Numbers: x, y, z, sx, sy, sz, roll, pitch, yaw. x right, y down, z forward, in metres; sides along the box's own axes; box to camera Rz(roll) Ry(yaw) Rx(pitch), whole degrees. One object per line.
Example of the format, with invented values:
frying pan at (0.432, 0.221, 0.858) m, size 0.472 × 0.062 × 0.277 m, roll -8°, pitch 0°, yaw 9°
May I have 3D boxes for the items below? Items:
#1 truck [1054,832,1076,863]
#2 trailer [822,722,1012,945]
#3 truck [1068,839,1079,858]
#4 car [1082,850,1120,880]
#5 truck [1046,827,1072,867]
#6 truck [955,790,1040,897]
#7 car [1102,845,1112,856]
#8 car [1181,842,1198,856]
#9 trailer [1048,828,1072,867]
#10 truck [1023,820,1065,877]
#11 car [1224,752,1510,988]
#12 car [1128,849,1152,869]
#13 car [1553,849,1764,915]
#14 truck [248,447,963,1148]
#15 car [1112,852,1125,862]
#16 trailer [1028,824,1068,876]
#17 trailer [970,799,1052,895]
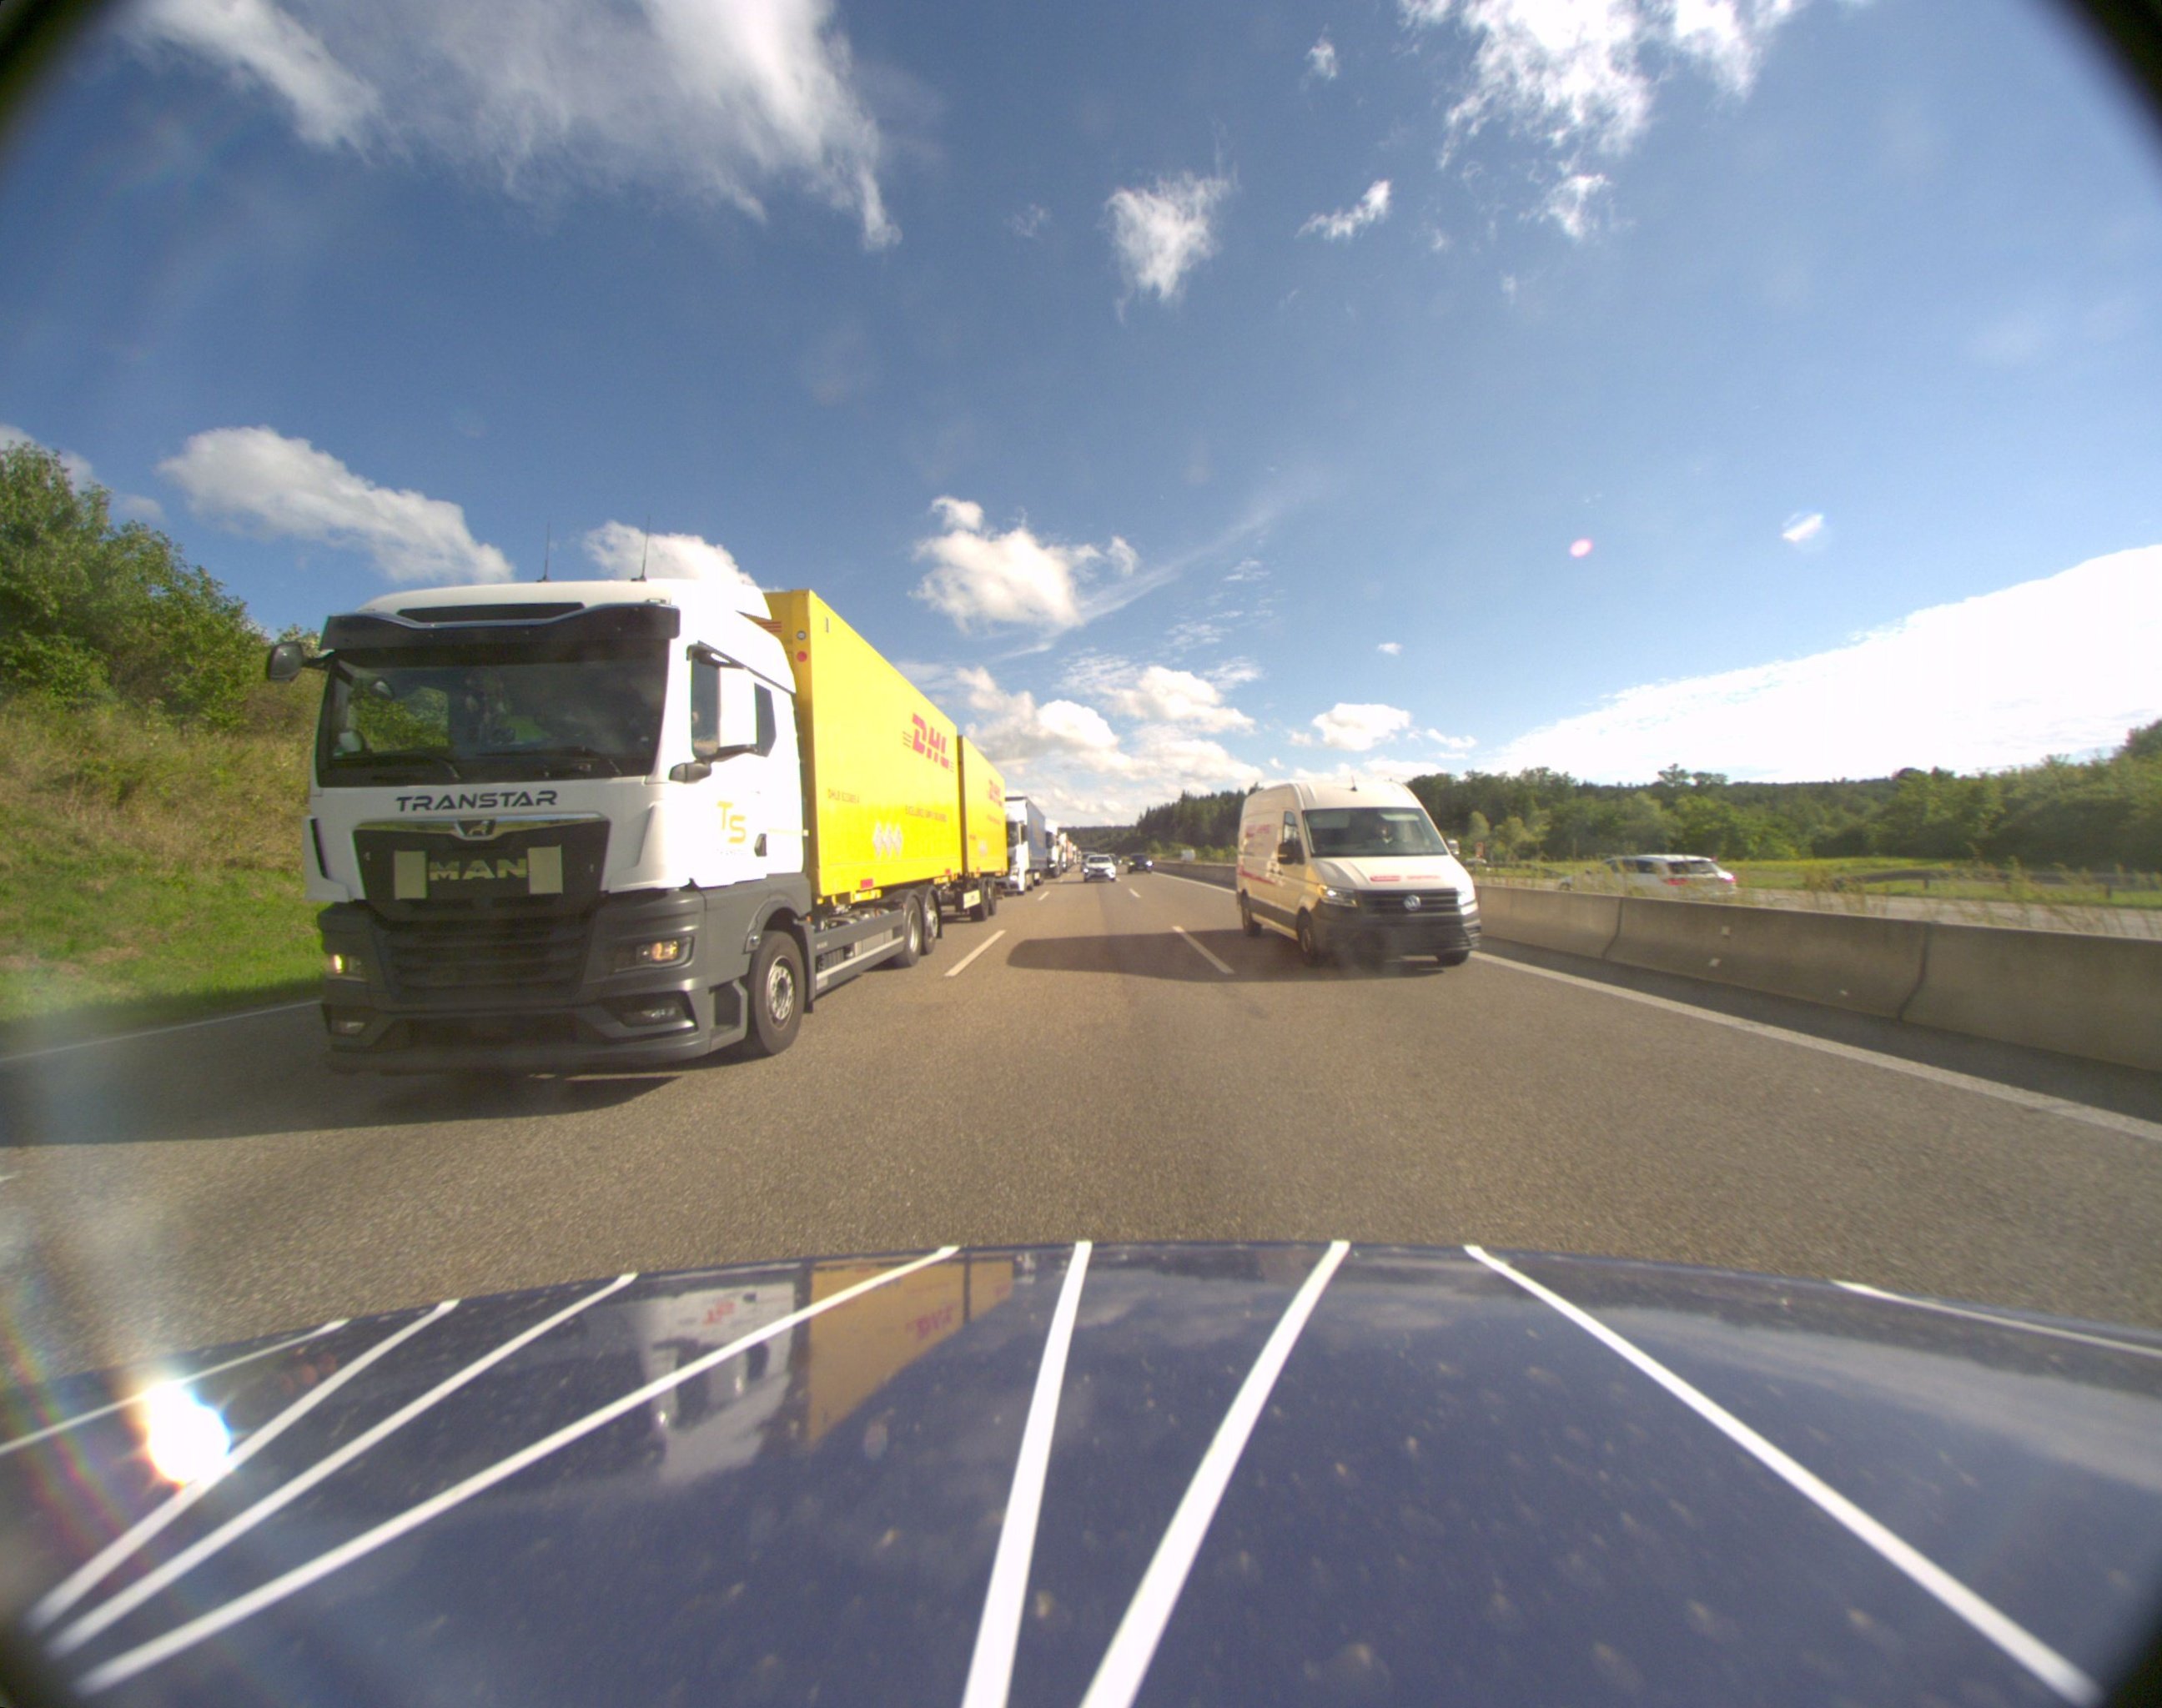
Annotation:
truck at (-2.129, -0.809, 102.461) m, size 2.634 × 3.959 × 5.956 m, roll -3°, pitch 0°, yaw 1°
trailer at (-3.465, -0.398, 18.631) m, size 2.418 × 4.045 × 8.926 m, roll -3°, pitch 0°, yaw 1°
truck at (-1.579, -1.191, 161.564) m, size 1.998 × 3.999 × 7.344 m, roll -3°, pitch 1°, yaw 0°
car at (1.189, 0.600, 43.818) m, size 2.026 × 1.511 × 5.299 m, roll -3°, pitch 0°, yaw 2°
truck at (-2.268, -0.650, 79.228) m, size 2.371 × 3.997 × 6.106 m, roll -2°, pitch -1°, yaw 0°
truck at (-3.442, -0.444, 32.975) m, size 2.655 × 4.066 × 6.491 m, roll -3°, pitch 1°, yaw 1°
car at (4.766, -0.659, 141.910) m, size 1.778 × 1.924 × 4.214 m, roll 1°, pitch 0°, yaw 1°
car at (20.831, -0.998, 146.052) m, size 2.038 × 2.564 × 7.321 m, roll -3°, pitch 1°, yaw 0°
trailer at (-2.271, -0.617, 86.569) m, size 2.334 × 3.973 × 14.299 m, roll -2°, pitch 0°, yaw 0°
truck at (-2.677, -0.307, 56.818) m, size 2.656 × 3.901 × 6.943 m, roll -3°, pitch -1°, yaw 0°
car at (3.788, 0.189, 11.617) m, size 2.020 × 2.583 × 6.182 m, roll -2°, pitch 0°, yaw 1°
car at (4.833, 0.366, 62.583) m, size 1.778 × 1.533 × 4.158 m, roll 1°, pitch 1°, yaw 1°
car at (15.256, 0.652, 20.513) m, size 1.923 × 1.468 × 4.933 m, roll -3°, pitch 1°, yaw 0°
truck at (-3.565, -0.341, 9.344) m, size 2.418 × 4.045 × 9.664 m, roll -3°, pitch 0°, yaw 1°
car at (5.669, 0.443, 115.824) m, size 1.778 × 1.451 × 4.158 m, roll 1°, pitch 1°, yaw 1°
trailer at (-2.657, -0.218, 64.083) m, size 2.652 × 3.911 × 11.175 m, roll -3°, pitch -1°, yaw 0°
trailer at (-3.307, -0.382, 39.942) m, size 2.648 × 4.074 × 13.978 m, roll -3°, pitch 1°, yaw 1°
